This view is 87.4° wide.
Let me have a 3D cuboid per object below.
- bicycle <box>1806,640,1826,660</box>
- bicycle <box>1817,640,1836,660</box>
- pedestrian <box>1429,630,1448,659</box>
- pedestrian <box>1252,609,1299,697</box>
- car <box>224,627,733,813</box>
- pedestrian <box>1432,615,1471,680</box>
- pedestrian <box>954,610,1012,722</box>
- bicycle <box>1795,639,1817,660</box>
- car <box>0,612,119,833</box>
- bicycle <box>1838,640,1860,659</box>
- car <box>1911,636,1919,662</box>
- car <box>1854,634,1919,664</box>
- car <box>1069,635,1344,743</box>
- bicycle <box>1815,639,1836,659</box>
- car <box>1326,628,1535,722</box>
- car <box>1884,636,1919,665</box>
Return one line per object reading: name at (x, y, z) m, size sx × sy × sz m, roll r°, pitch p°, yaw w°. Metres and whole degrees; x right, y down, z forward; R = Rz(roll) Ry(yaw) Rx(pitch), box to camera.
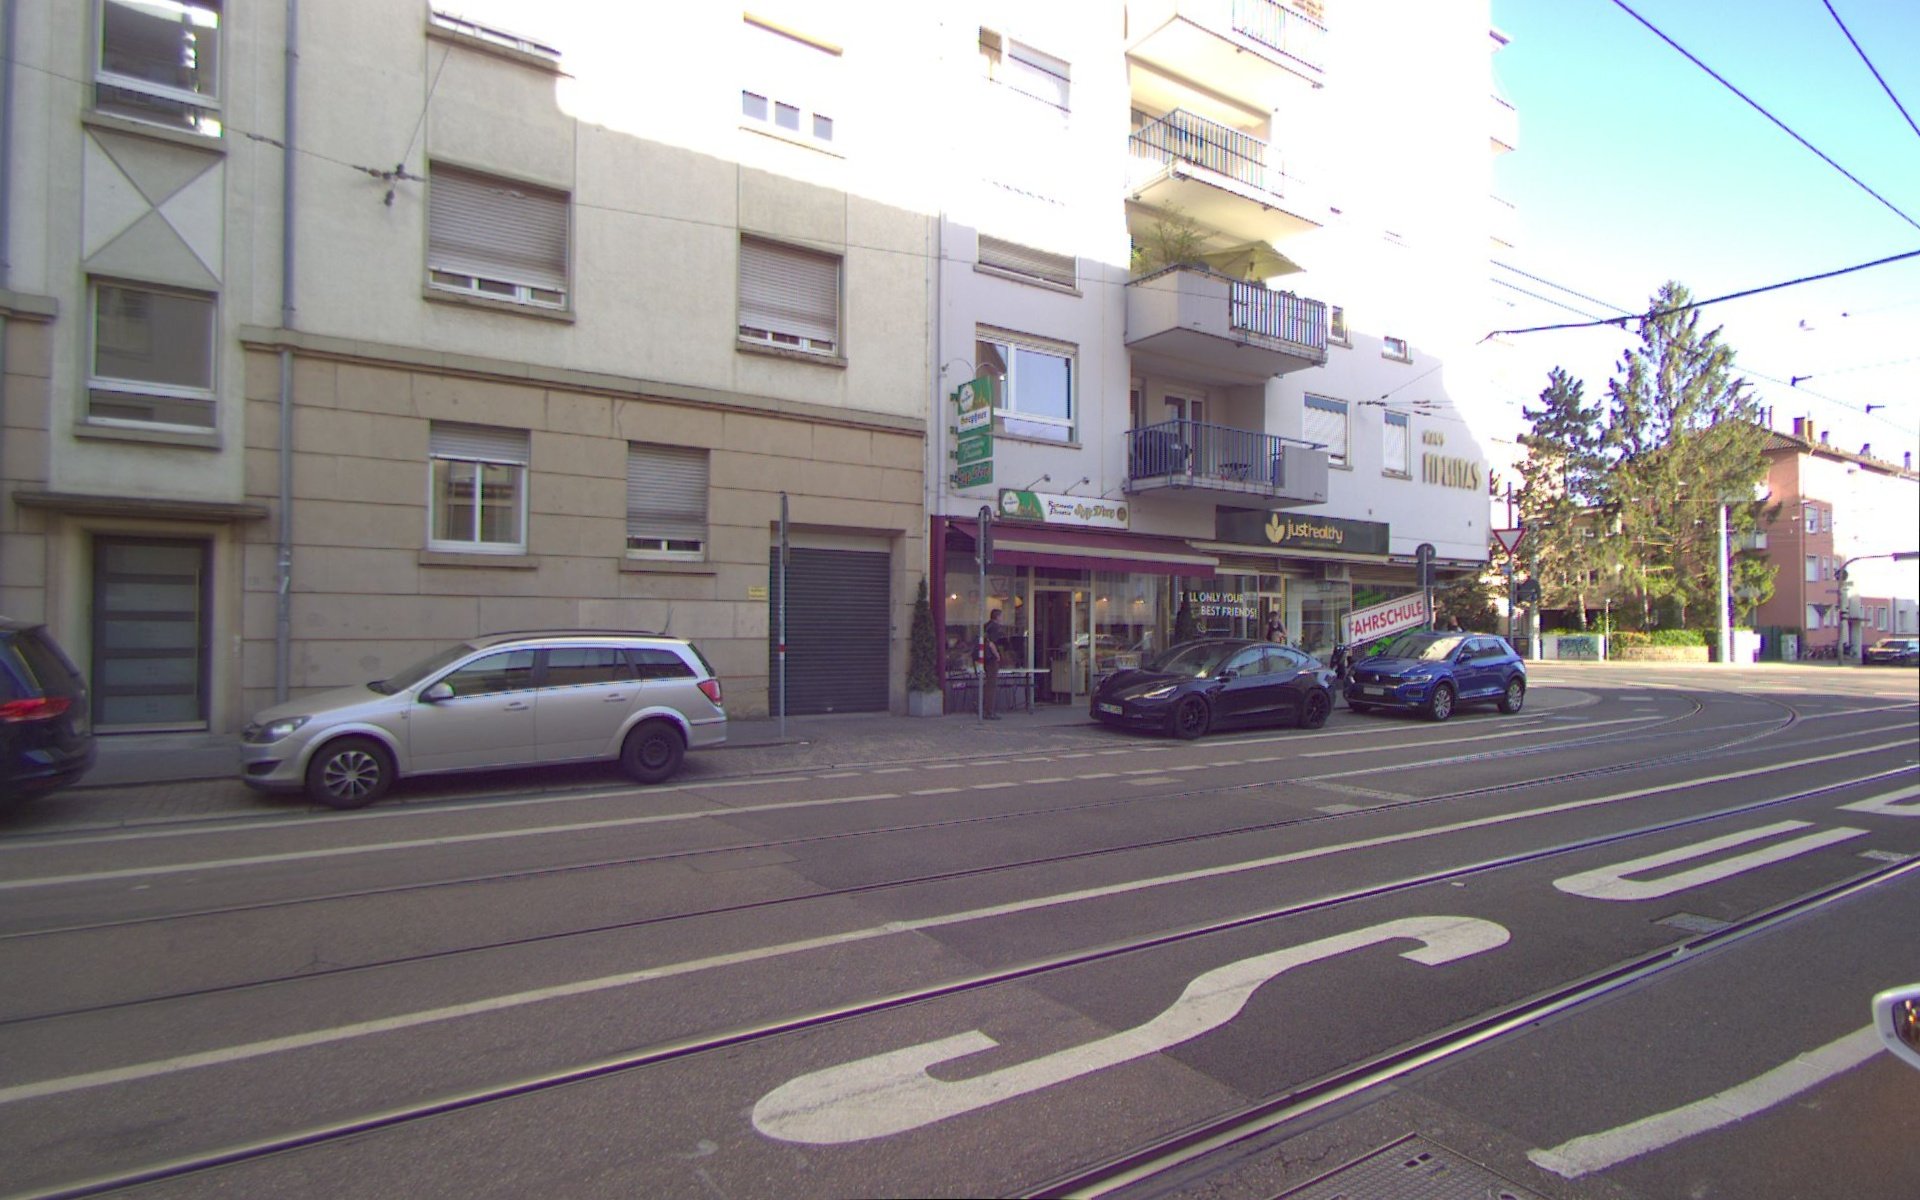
bicycle at (47.175, 2.738, 55.340) m, size 1.895 × 1.097 × 0.532 m, roll 2°, pitch -2°, yaw -41°
bicycle at (47.602, 2.750, 55.165) m, size 1.895 × 1.097 × 0.532 m, roll 2°, pitch -2°, yaw -41°
pedestrian at (29.430, 2.738, 61.788) m, size 0.672 × 1.725 × 0.805 m, roll 1°, pitch -2°, yaw -30°
pedestrian at (6.904, 1.158, 22.000) m, size 0.665 × 1.882 × 0.746 m, roll 1°, pitch -2°, yaw -35°
car at (-4.712, 1.050, 10.214) m, size 4.343 × 1.497 × 1.785 m, roll 1°, pitch -1°, yaw -34°
pedestrian at (14.148, 1.359, 28.918) m, size 0.707 × 1.859 × 0.771 m, roll 0°, pitch -1°, yaw -3°
pedestrian at (0.366, 1.027, 15.908) m, size 0.722 × 1.731 × 0.600 m, roll 1°, pitch -2°, yaw -32°
bicycle at (46.879, 2.728, 55.632) m, size 1.895 × 1.097 × 0.634 m, roll 2°, pitch -2°, yaw -41°
car at (-9.000, 0.880, 7.193) m, size 4.343 × 1.620 × 1.785 m, roll 1°, pitch -1°, yaw -34°
bicycle at (53.154, 2.941, 60.025) m, size 1.892 × 1.097 × 0.605 m, roll 1°, pitch -2°, yaw -37°
car at (58.124, 2.901, 59.451) m, size 3.961 × 1.539 × 1.938 m, roll 1°, pitch -2°, yaw -36°
car at (49.722, 2.619, 53.783) m, size 3.961 × 1.539 × 1.938 m, roll 1°, pitch -2°, yaw -36°
car at (4.007, 1.316, 16.042) m, size 4.442 × 1.422 × 1.714 m, roll 1°, pitch 1°, yaw -34°
bicycle at (50.738, 2.864, 58.881) m, size 1.892 × 1.097 × 0.533 m, roll 1°, pitch -2°, yaw -37°
car at (8.986, 1.347, 19.085) m, size 4.072 × 1.525 × 1.714 m, roll 1°, pitch 1°, yaw -34°
car at (54.270, 2.844, 57.012) m, size 4.006 × 1.539 × 1.938 m, roll 1°, pitch -2°, yaw -36°
